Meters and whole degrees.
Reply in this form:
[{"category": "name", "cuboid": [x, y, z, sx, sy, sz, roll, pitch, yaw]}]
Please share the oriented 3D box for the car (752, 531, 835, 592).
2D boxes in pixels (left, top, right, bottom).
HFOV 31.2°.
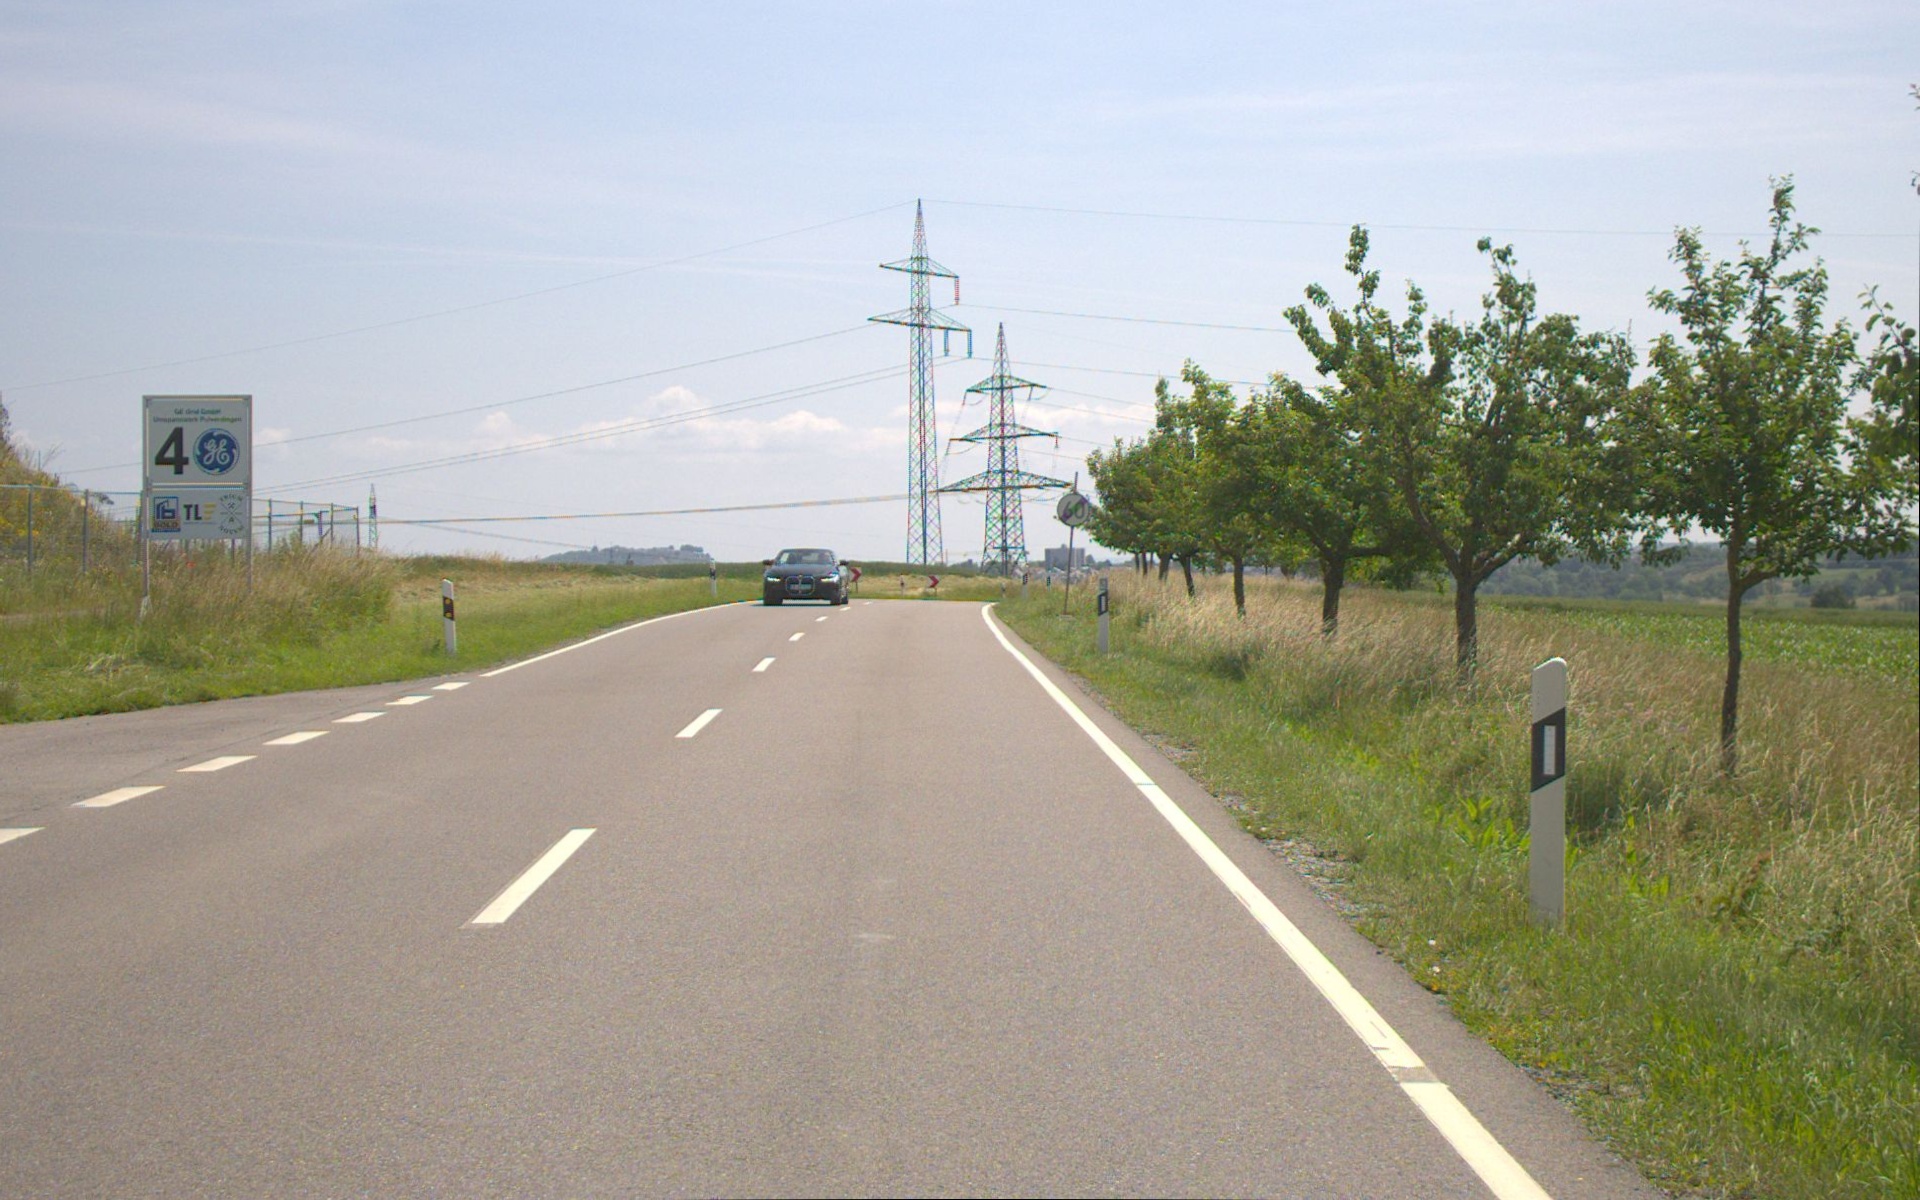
[{"category": "car", "cuboid": [-3.925, -0.934, 81.667, 1.822, 1.406, 4.000, 0, 1, -1]}]
